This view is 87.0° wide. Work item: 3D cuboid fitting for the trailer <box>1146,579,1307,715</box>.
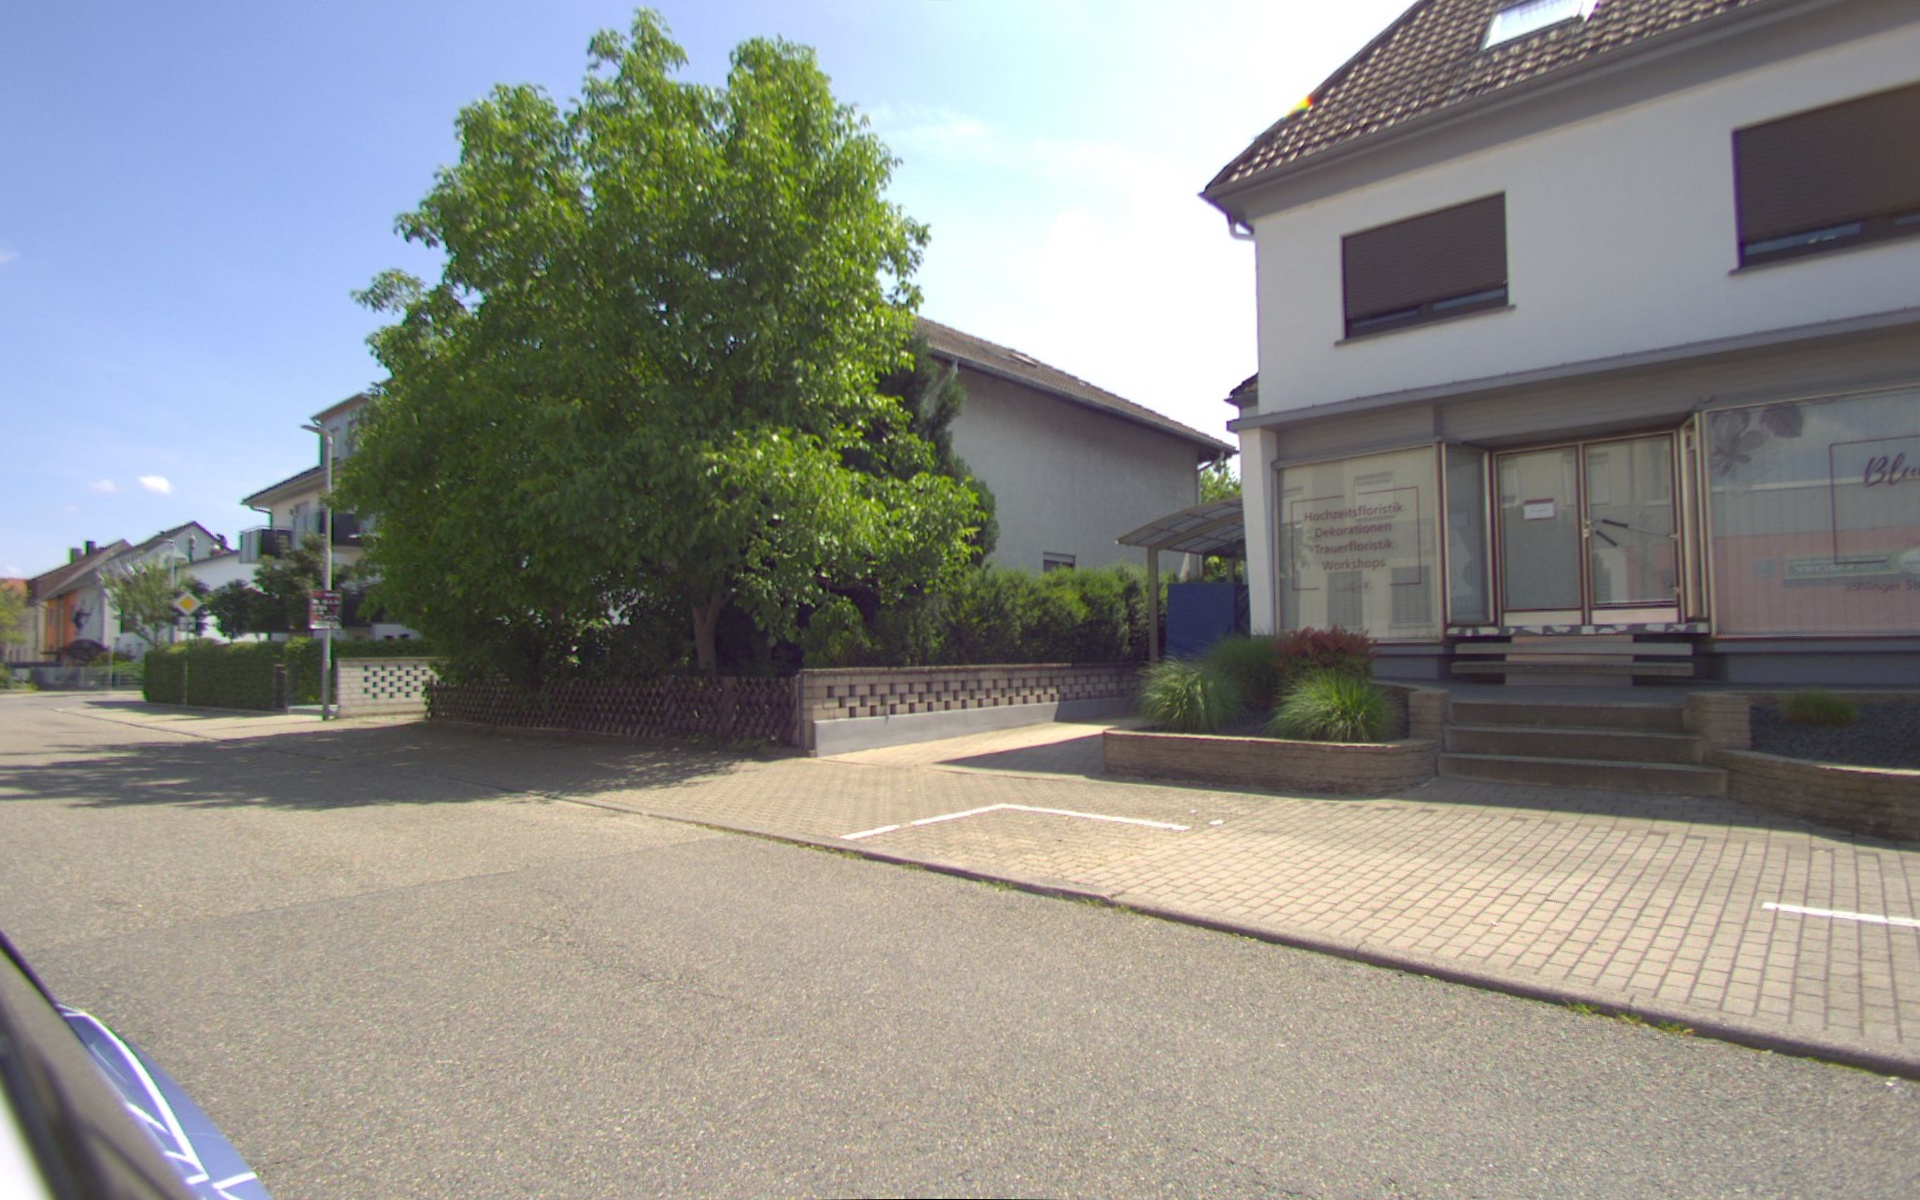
[{"bbox_3d":[4.704,0.779,17.629,1.671,2.129,3.140,-3,-2,35],"label":"trailer"}]
